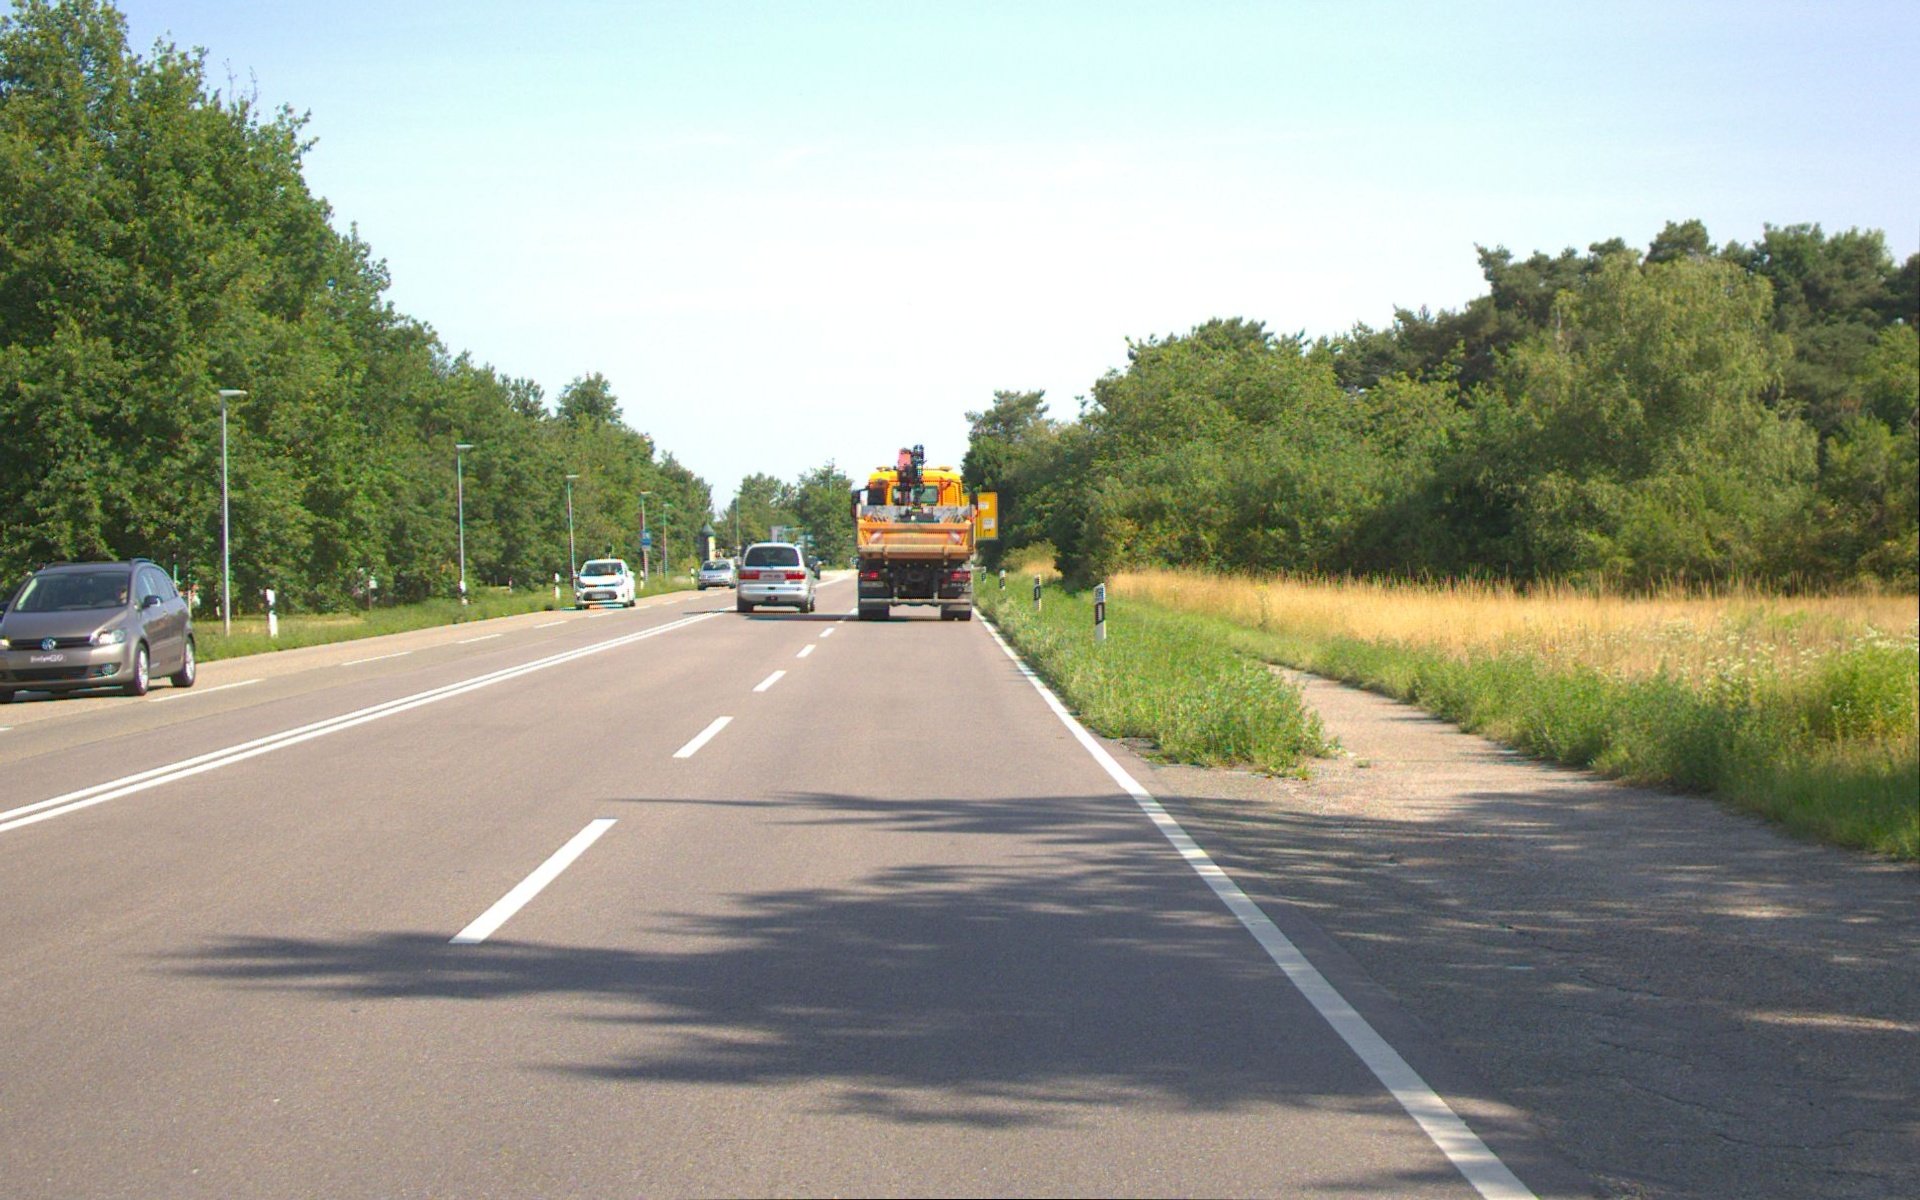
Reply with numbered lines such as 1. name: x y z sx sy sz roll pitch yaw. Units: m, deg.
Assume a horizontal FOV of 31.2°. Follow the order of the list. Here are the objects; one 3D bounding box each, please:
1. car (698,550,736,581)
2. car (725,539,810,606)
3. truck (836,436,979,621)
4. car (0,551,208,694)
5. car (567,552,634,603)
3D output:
1. car: -11.809 -1.685 167.192 1.598 1.437 4.000 -3 1 -1
2. car: -4.664 -0.685 83.670 1.993 1.578 4.001 -1 1 -3
3. truck: -1.247 -1.564 76.560 2.871 3.867 7.401 1 1 -3
4. car: -10.138 0.221 40.362 1.729 1.555 4.215 -1 1 -1
5. car: -10.889 -0.702 104.314 1.659 1.432 3.736 -3 1 -1
